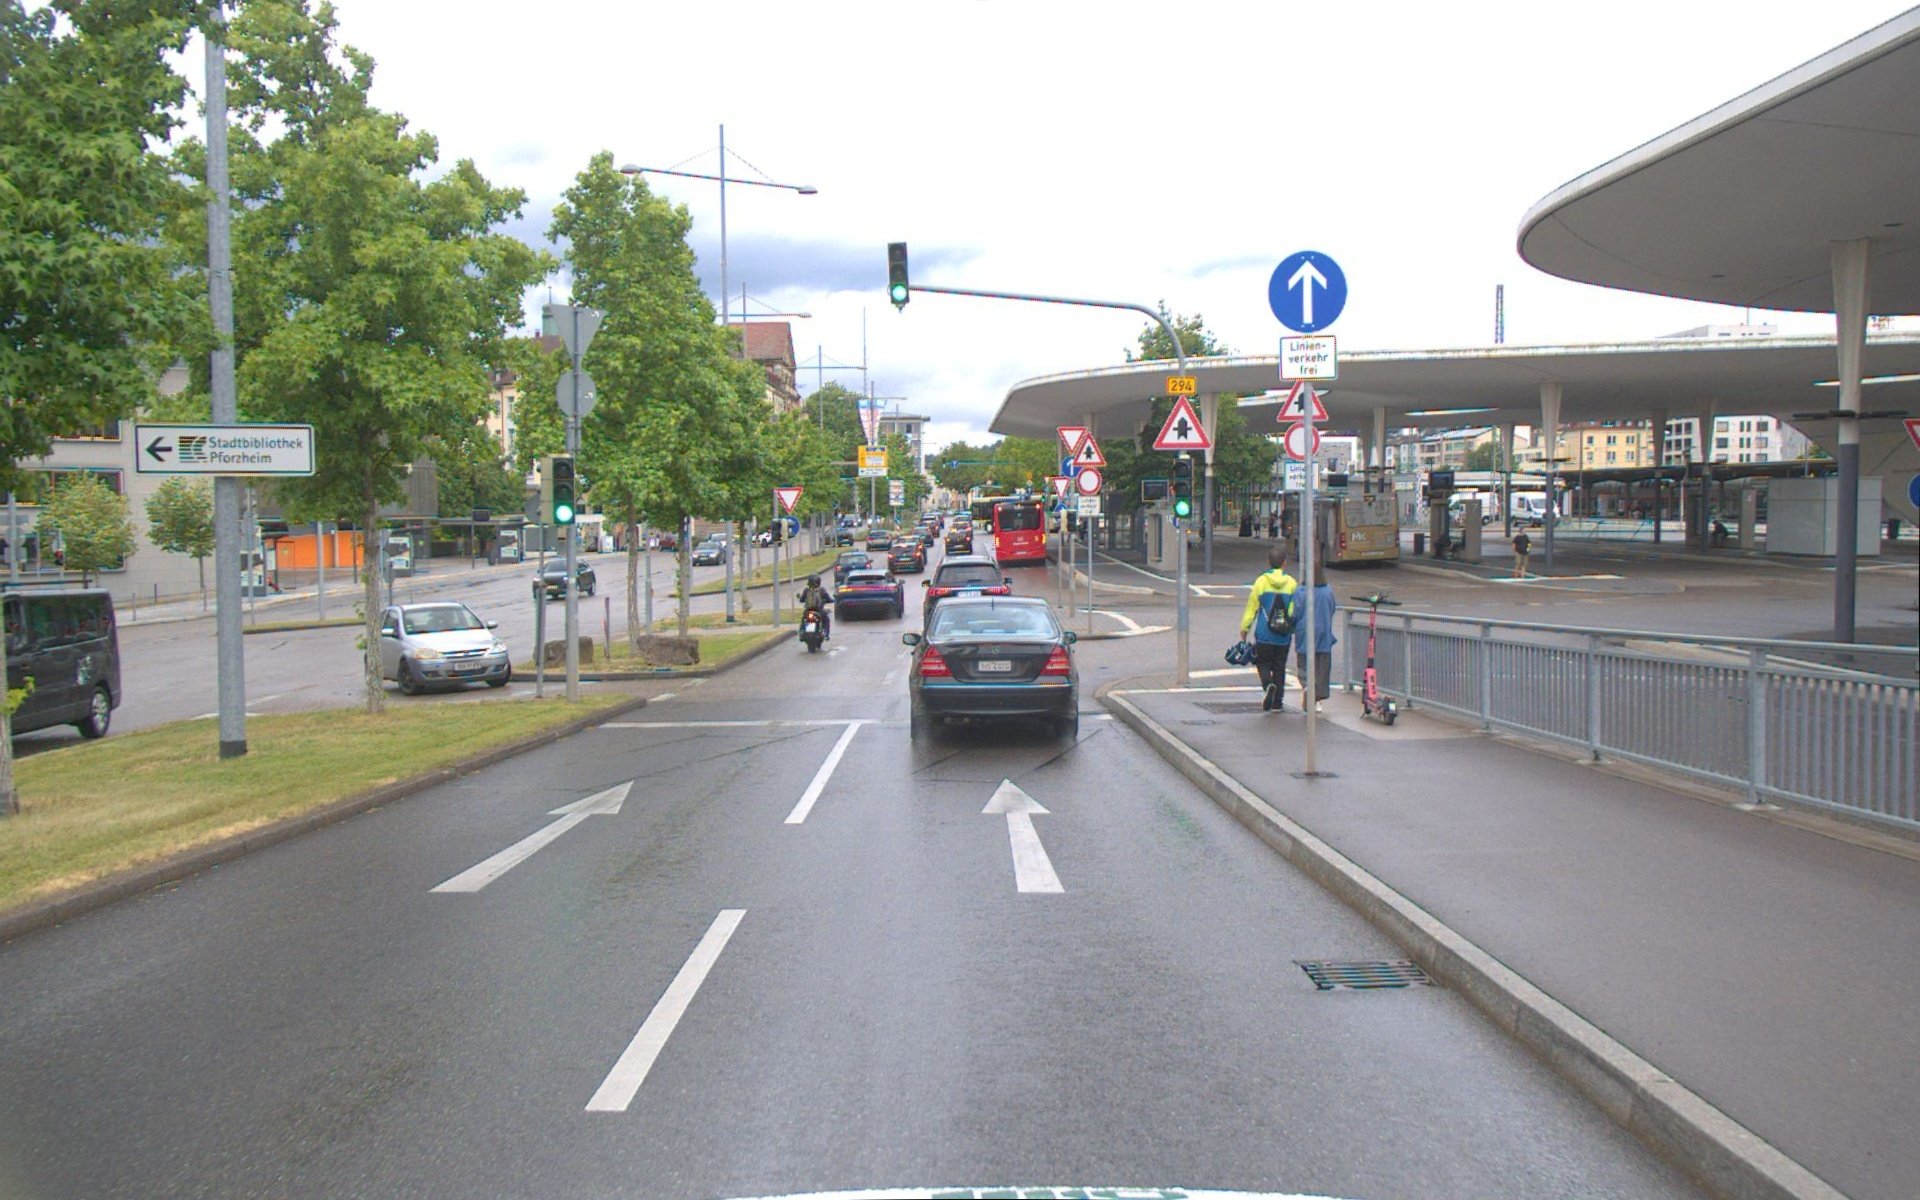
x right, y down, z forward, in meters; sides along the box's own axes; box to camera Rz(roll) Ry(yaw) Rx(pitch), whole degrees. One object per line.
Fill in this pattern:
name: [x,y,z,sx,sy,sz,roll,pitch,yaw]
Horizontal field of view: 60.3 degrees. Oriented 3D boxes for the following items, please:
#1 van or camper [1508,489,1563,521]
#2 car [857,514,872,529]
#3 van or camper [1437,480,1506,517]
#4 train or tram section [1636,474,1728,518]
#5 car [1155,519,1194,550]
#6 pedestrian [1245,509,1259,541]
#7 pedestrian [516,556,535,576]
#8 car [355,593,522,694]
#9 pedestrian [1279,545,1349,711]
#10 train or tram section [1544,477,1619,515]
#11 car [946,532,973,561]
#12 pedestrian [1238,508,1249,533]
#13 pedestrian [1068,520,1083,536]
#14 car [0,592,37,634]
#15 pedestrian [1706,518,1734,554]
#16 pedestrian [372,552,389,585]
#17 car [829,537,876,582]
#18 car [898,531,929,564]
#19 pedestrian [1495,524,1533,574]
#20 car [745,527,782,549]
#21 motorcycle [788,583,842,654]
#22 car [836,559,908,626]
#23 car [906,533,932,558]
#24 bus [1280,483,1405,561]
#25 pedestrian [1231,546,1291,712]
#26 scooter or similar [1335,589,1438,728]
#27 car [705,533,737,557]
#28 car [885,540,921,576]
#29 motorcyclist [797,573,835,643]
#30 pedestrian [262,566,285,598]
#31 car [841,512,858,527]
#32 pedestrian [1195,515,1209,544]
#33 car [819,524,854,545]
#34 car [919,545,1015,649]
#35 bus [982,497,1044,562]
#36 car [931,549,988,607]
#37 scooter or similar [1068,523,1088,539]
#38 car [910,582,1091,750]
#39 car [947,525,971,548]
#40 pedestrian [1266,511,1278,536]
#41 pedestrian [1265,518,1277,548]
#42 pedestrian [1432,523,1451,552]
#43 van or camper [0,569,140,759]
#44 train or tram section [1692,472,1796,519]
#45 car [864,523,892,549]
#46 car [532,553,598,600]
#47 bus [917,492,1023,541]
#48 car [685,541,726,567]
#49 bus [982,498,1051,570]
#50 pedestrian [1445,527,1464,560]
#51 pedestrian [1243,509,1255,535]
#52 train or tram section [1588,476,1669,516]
van or camper: [41.523,-6.848,119.517,1.953,2.139,5.480,1,2,-1]
car: [-11.630,-9.584,202.052,1.543,1.593,3.431,-4,4,0]
van or camper: [38.942,-7.709,125.932,4.514,2.602,2.118,1,1,-2]
train or tram section: [66.257,-9.574,152.102,3.068,3.744,11.619,2,4,-1]
car: [12.811,-3.939,98.819,1.677,1.690,4.240,-1,3,-1]
pedestrian: [18.776,-4.812,106.302,0.709,2.049,0.669,2,-1,26]
pedestrian: [-29.968,-2.379,114.185,0.955,1.289,0.850,3,5,20]
car: [-8.807,0.700,27.753,1.618,1.473,3.830,-4,2,-34]
pedestrian: [3.698,0.296,17.294,0.577,1.700,0.580,1,-1,-1]
train or tram section: [65.846,-11.028,175.661,3.068,3.722,12.327,2,4,-1]
car: [-0.026,-3.396,103.778,1.543,1.593,3.872,-4,4,0]
pedestrian: [18.785,-5.252,109.632,0.568,1.605,0.560,1,-1,29]
pedestrian: [7.654,-4.734,109.414,0.894,1.002,0.634,0,-1,14]
car: [-38.480,0.585,65.140,1.593,1.521,3.586,-1,3,15]
pedestrian: [33.818,-2.844,73.588,0.779,1.613,0.907,0,2,-6]
pedestrian: [-30.804,-1.694,87.918,0.464,1.712,0.764,-2,3,6]
car: [-4.556,-1.751,70.636,1.642,1.651,3.872,-4,4,0]
car: [-2.558,-2.953,91.874,1.543,1.593,3.872,-4,4,0]
pedestrian: [19.454,-1.791,58.104,0.709,1.712,1.013,-5,3,-26]
car: [-17.051,-5.361,143.421,1.629,1.836,3.593,2,0,-37]
motorcycle: [-2.980,0.358,34.236,0.776,1.283,1.856,-3,4,3]
car: [-2.534,-0.269,48.637,1.779,1.597,4.405,-4,4,0]
car: [-2.963,-3.975,121.046,1.828,1.713,4.000,1,1,-1]
bus: [16.879,-3.575,74.008,2.666,3.095,12.093,-2,3,0]
pedestrian: [3.143,0.296,17.303,0.512,1.699,0.580,0,0,-1]
scooter or similar: [4.085,0.532,15.951,0.454,1.242,1.859,-2,0,-1]
car: [-18.409,-4.280,127.600,1.809,1.681,4.420,-2,3,0]
car: [-2.825,-2.130,82.295,1.543,1.530,3.873,-4,4,1]
motorcyclist: [-2.966,0.158,34.186,0.628,1.370,0.689,-2,3,3]
pedestrian: [-31.290,-0.832,75.395,0.664,1.416,0.721,-2,3,-2]
car: [-13.086,-9.529,196.030,1.744,1.593,3.431,-4,4,0]
pedestrian: [14.002,-4.078,95.784,0.587,1.609,0.710,-1,1,-9]
car: [-9.890,-5.199,132.172,1.703,1.588,3.743,-2,2,-22]
car: [0.150,-0.141,37.529,1.918,1.907,4.875,-4,4,0]
bus: [2.911,-4.085,93.840,3.223,3.345,8.853,-3,3,1]
car: [-0.021,-0.761,54.489,1.706,1.593,3.872,-4,4,0]
scooter or similar: [7.836,-4.594,109.580,1.216,1.030,0.765,-1,3,14]
car: [0.360,0.588,17.436,1.663,1.487,4.304,0,1,-1]
car: [-0.068,-4.994,130.791,1.828,1.713,4.000,1,1,-1]
pedestrian: [20.794,-5.079,110.191,0.569,1.605,0.559,1,-1,35]
pedestrian: [18.504,-3.989,98.406,0.549,1.721,0.613,-1,3,-7]
pedestrian: [21.391,-2.778,73.445,0.776,1.247,0.634,-1,3,17]
van or camper: [-11.988,0.776,19.913,2.176,2.108,5.273,-3,0,-9]
train or tram section: [66.420,-8.860,140.525,3.068,3.741,11.618,2,3,-1]
car: [-5.787,-4.501,117.226,1.828,1.713,4.000,1,1,-1]
car: [-16.840,-1.028,70.726,1.870,1.690,4.857,-2,4,-4]
bus: [0.787,-7.471,149.138,2.820,4.056,11.698,-4,4,-39]
car: [-16.678,-3.038,108.623,1.809,1.530,4.922,-2,3,1]
bus: [2.816,-3.561,85.793,3.219,3.348,10.883,-3,3,1]
pedestrian: [21.342,-2.444,71.362,0.776,1.401,0.634,-1,3,17]
pedestrian: [19.356,-5.208,110.707,0.569,1.746,0.559,1,-1,35]
train or tram section: [66.037,-10.276,163.706,3.068,3.722,11.619,2,4,-1]
